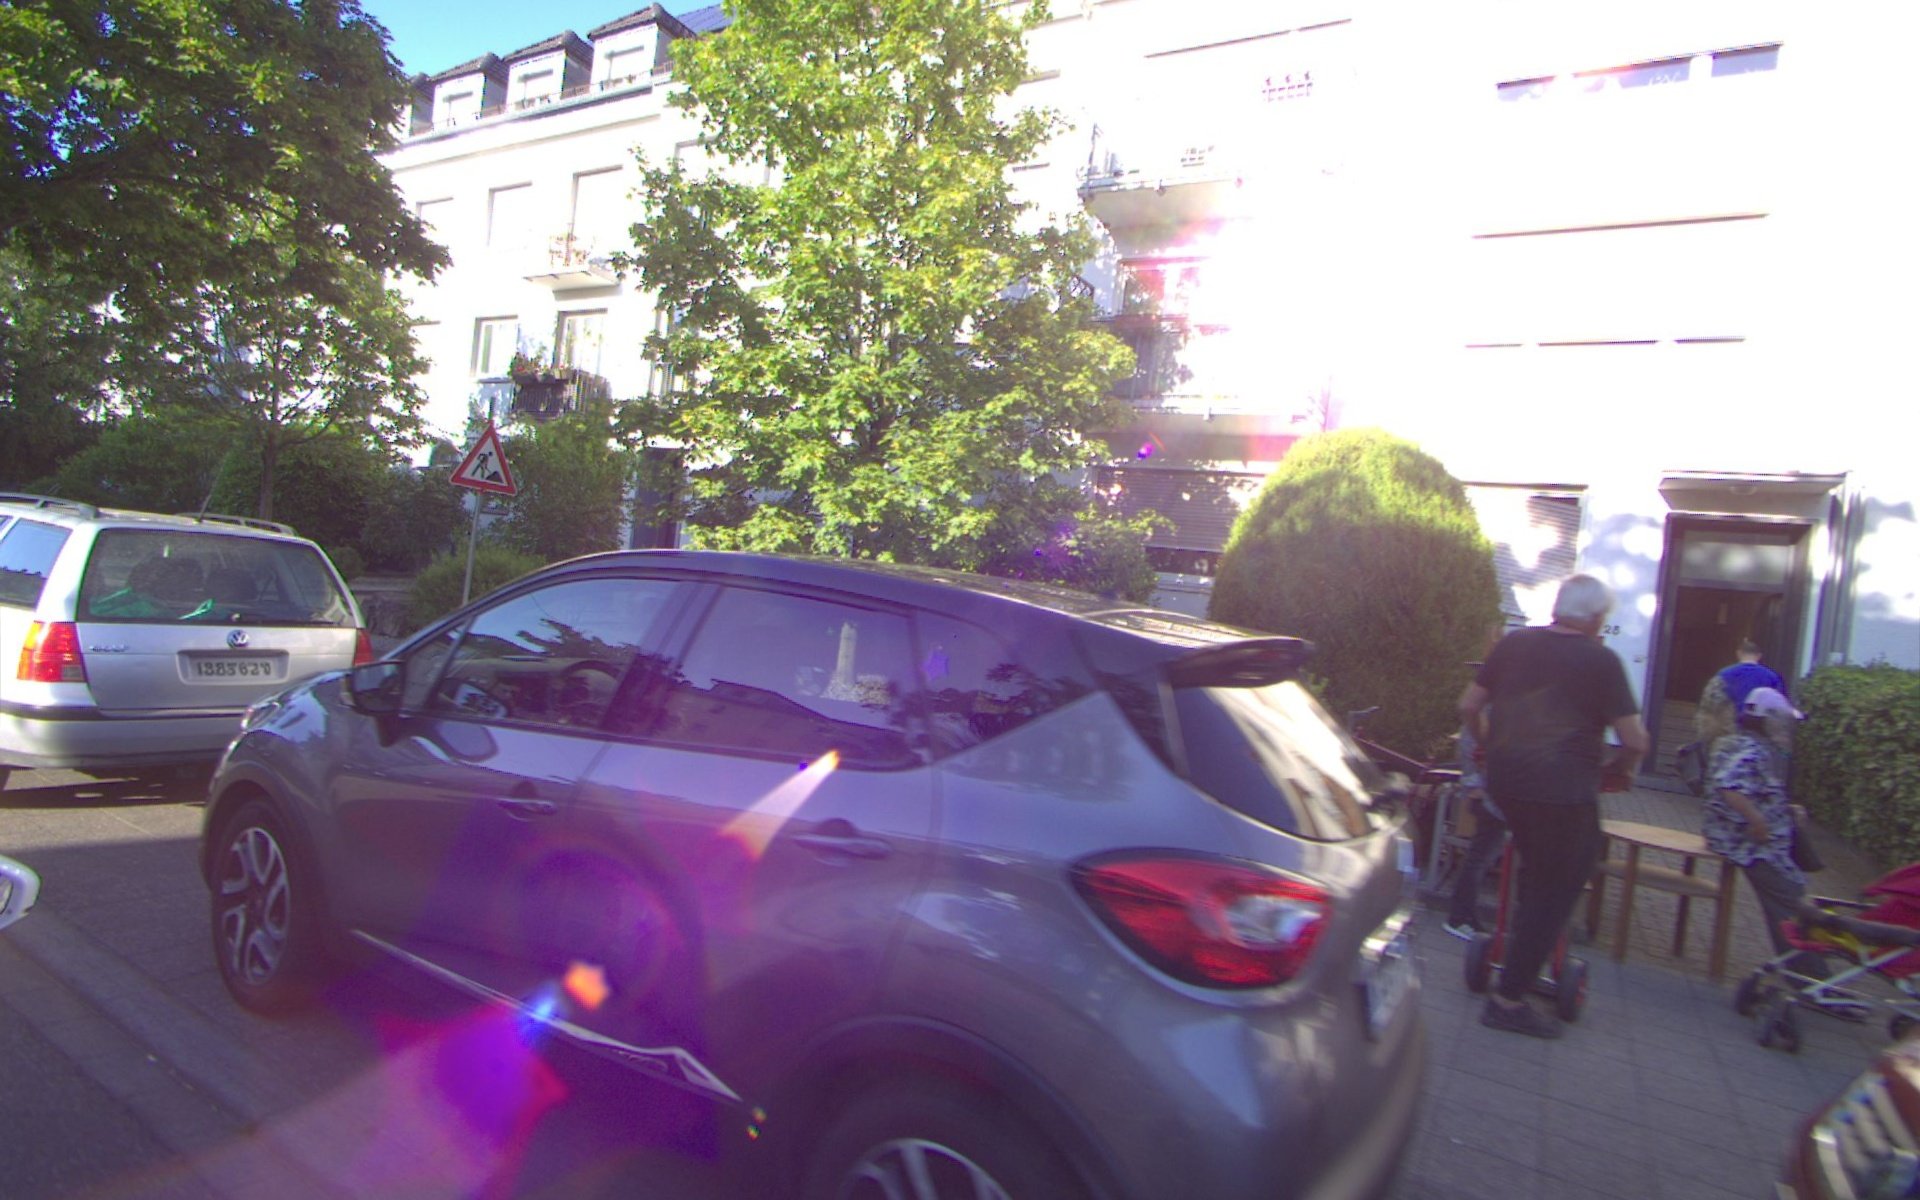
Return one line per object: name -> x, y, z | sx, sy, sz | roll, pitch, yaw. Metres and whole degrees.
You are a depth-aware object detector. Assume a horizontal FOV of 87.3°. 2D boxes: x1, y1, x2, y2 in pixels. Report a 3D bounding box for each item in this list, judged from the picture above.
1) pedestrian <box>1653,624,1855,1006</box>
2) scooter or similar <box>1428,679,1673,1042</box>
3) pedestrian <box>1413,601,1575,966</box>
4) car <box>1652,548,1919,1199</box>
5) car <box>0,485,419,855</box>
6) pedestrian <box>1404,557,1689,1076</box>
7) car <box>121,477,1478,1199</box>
pedestrian -> 3.904, 1.014, 4.993 | 0.518, 1.718, 0.511 | 7, 1, 27
scooter or similar -> 2.617, 1.070, 4.448 | 0.710, 1.333, 0.746 | 7, 1, 38
pedestrian -> 2.731, 0.902, 5.182 | 0.518, 1.718, 0.511 | 7, 1, 27
car -> 3.351, 1.028, 0.634 | 4.518, 1.676, 1.725 | 7, 0, 29
car -> -5.316, 0.129, 5.990 | 4.341, 1.510, 1.638 | 7, 1, 31
pedestrian -> 2.409, 0.811, 4.138 | 0.753, 1.872, 0.548 | 7, 1, 38
car -> -0.743, 0.612, 3.120 | 3.934, 1.589, 1.638 | 7, 1, 32
